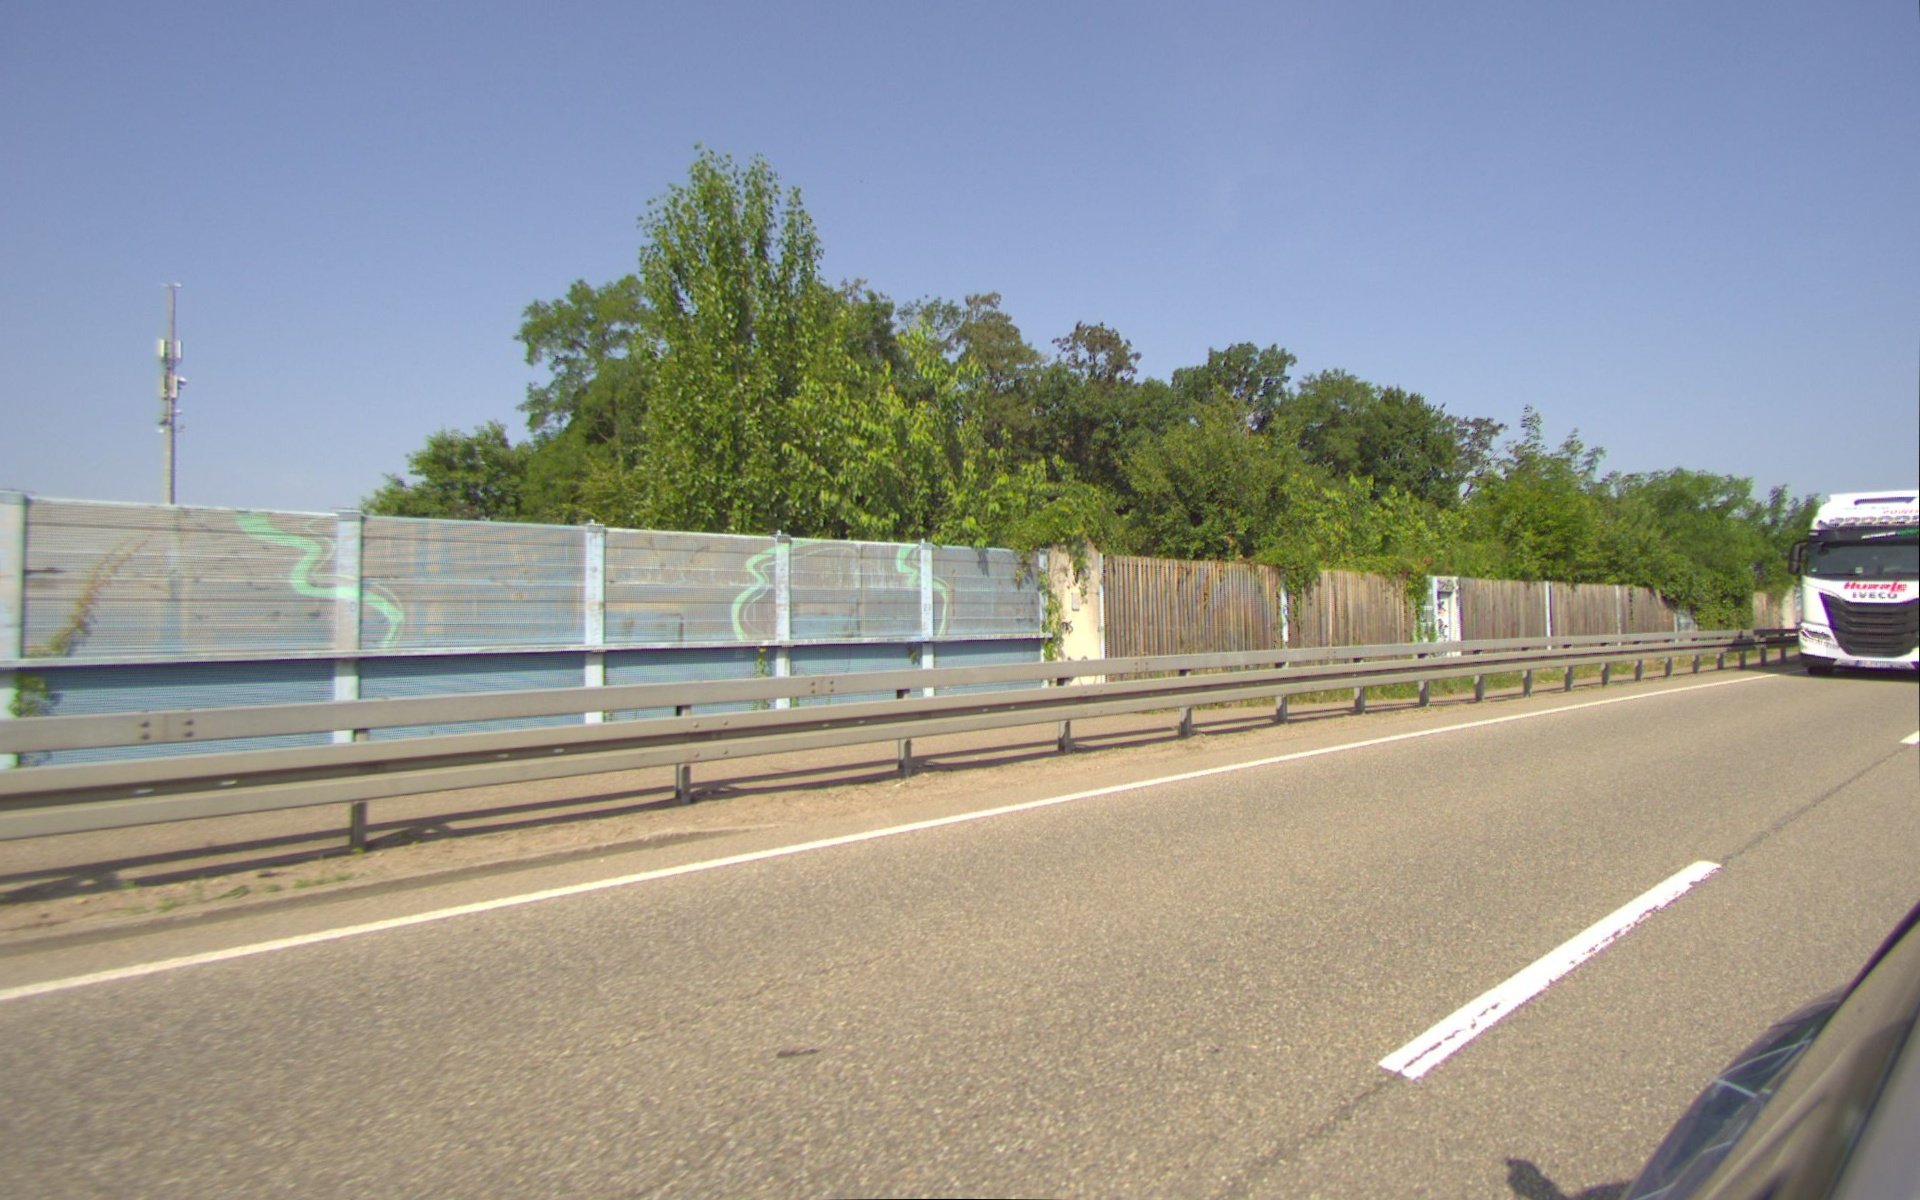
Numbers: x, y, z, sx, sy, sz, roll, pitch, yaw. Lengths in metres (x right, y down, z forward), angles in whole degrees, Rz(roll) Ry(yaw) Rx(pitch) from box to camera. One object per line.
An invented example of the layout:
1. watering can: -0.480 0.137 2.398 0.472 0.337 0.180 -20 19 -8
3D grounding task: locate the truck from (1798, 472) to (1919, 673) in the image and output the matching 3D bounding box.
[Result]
1. truck: 20.651 -0.538 22.074 5.546 3.945 2.664 0 0 -40

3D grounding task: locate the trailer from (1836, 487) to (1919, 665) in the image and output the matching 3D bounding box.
1. trailer: 24.968 -0.469 25.601 9.498 3.957 2.685 1 0 -40
